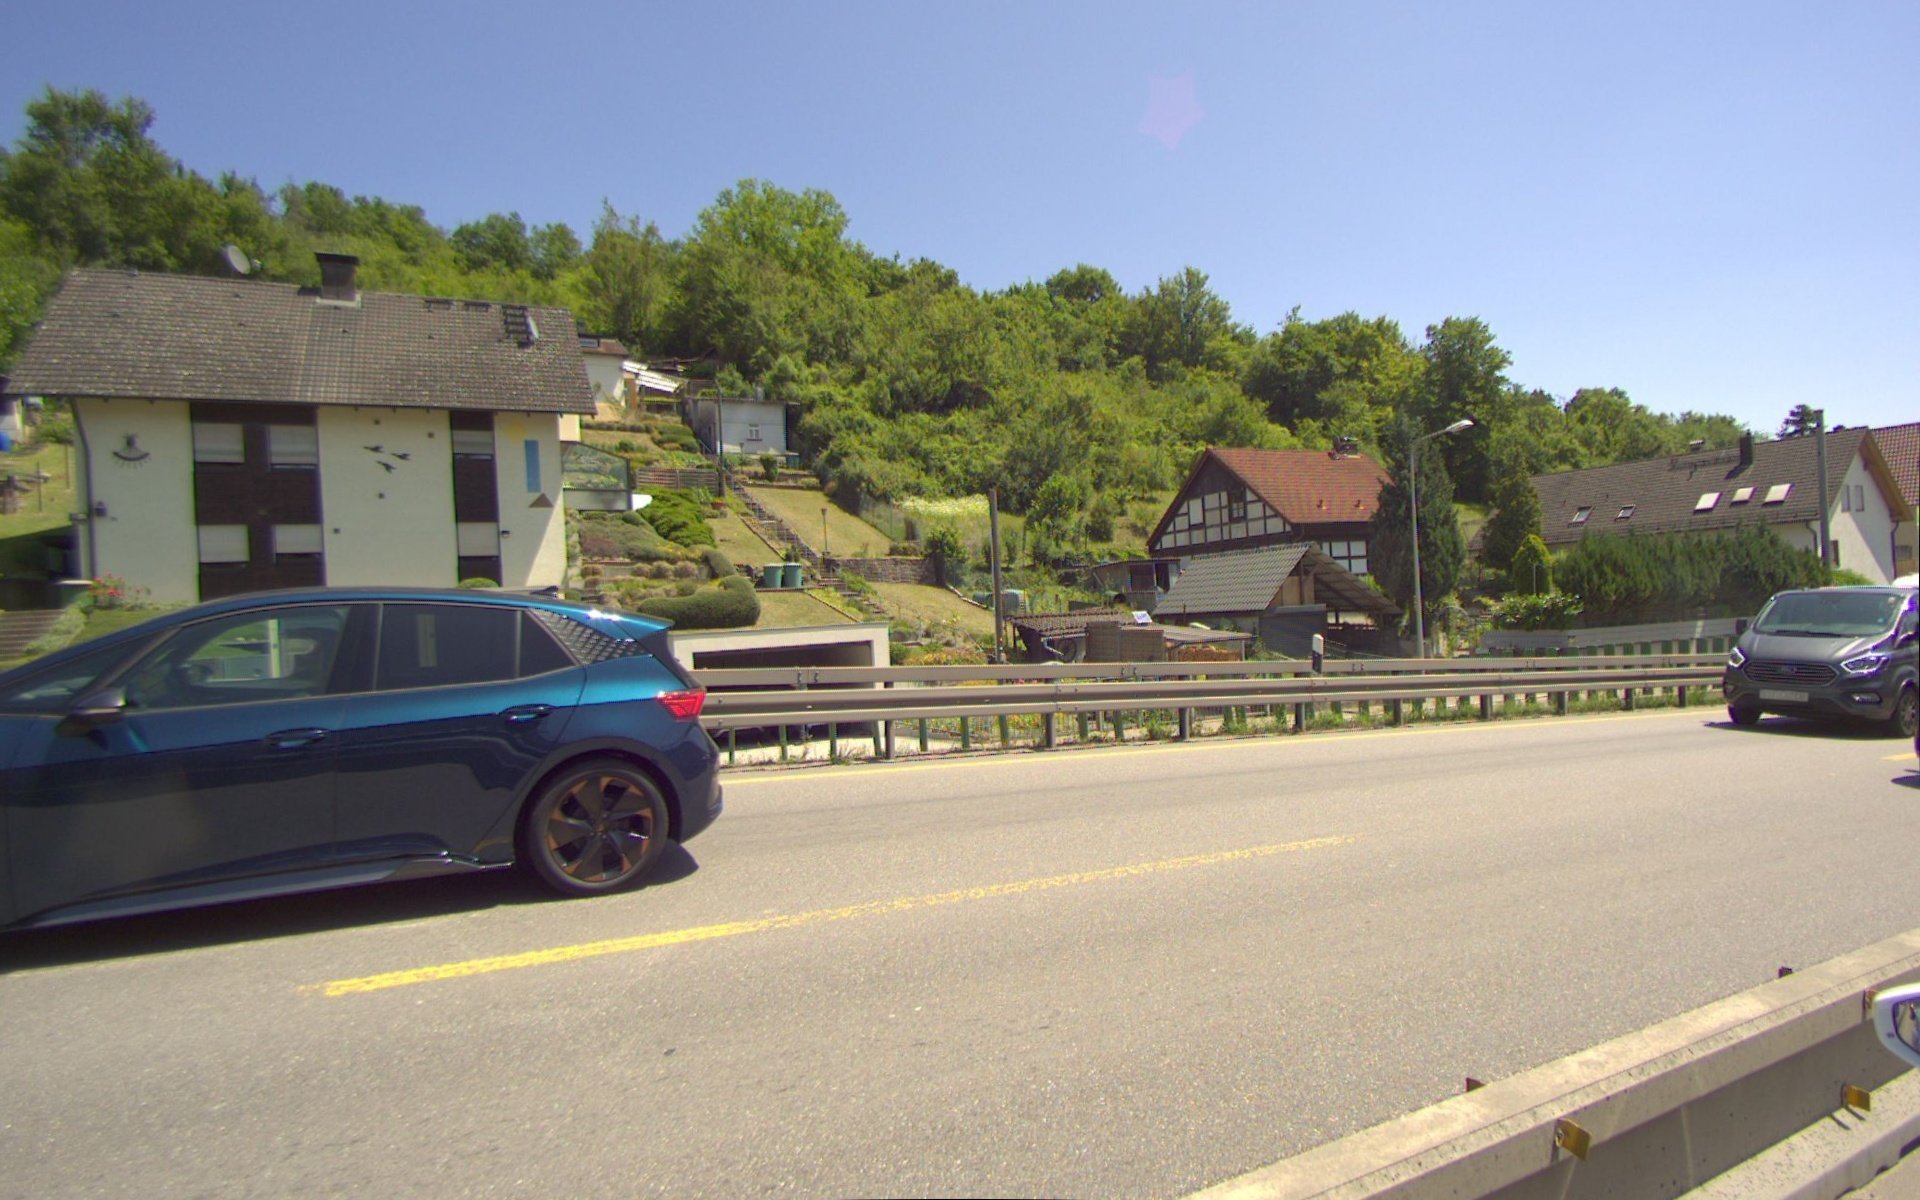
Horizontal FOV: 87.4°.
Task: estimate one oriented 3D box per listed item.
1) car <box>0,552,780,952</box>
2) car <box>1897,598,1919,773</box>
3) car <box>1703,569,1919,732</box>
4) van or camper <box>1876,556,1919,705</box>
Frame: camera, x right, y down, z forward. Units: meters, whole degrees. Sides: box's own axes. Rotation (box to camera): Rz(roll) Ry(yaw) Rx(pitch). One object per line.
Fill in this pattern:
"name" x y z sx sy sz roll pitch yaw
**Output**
"car" -3.261 0.617 5.170 4.208 1.536 1.834 2 -1 -30
"car" 11.119 0.871 9.680 4.427 1.607 1.863 2 -1 -30
"car" 12.784 0.699 14.428 3.954 2.040 1.984 2 -1 -30
"van or camper" 19.497 0.644 18.256 6.252 2.549 2.344 2 -1 -29
